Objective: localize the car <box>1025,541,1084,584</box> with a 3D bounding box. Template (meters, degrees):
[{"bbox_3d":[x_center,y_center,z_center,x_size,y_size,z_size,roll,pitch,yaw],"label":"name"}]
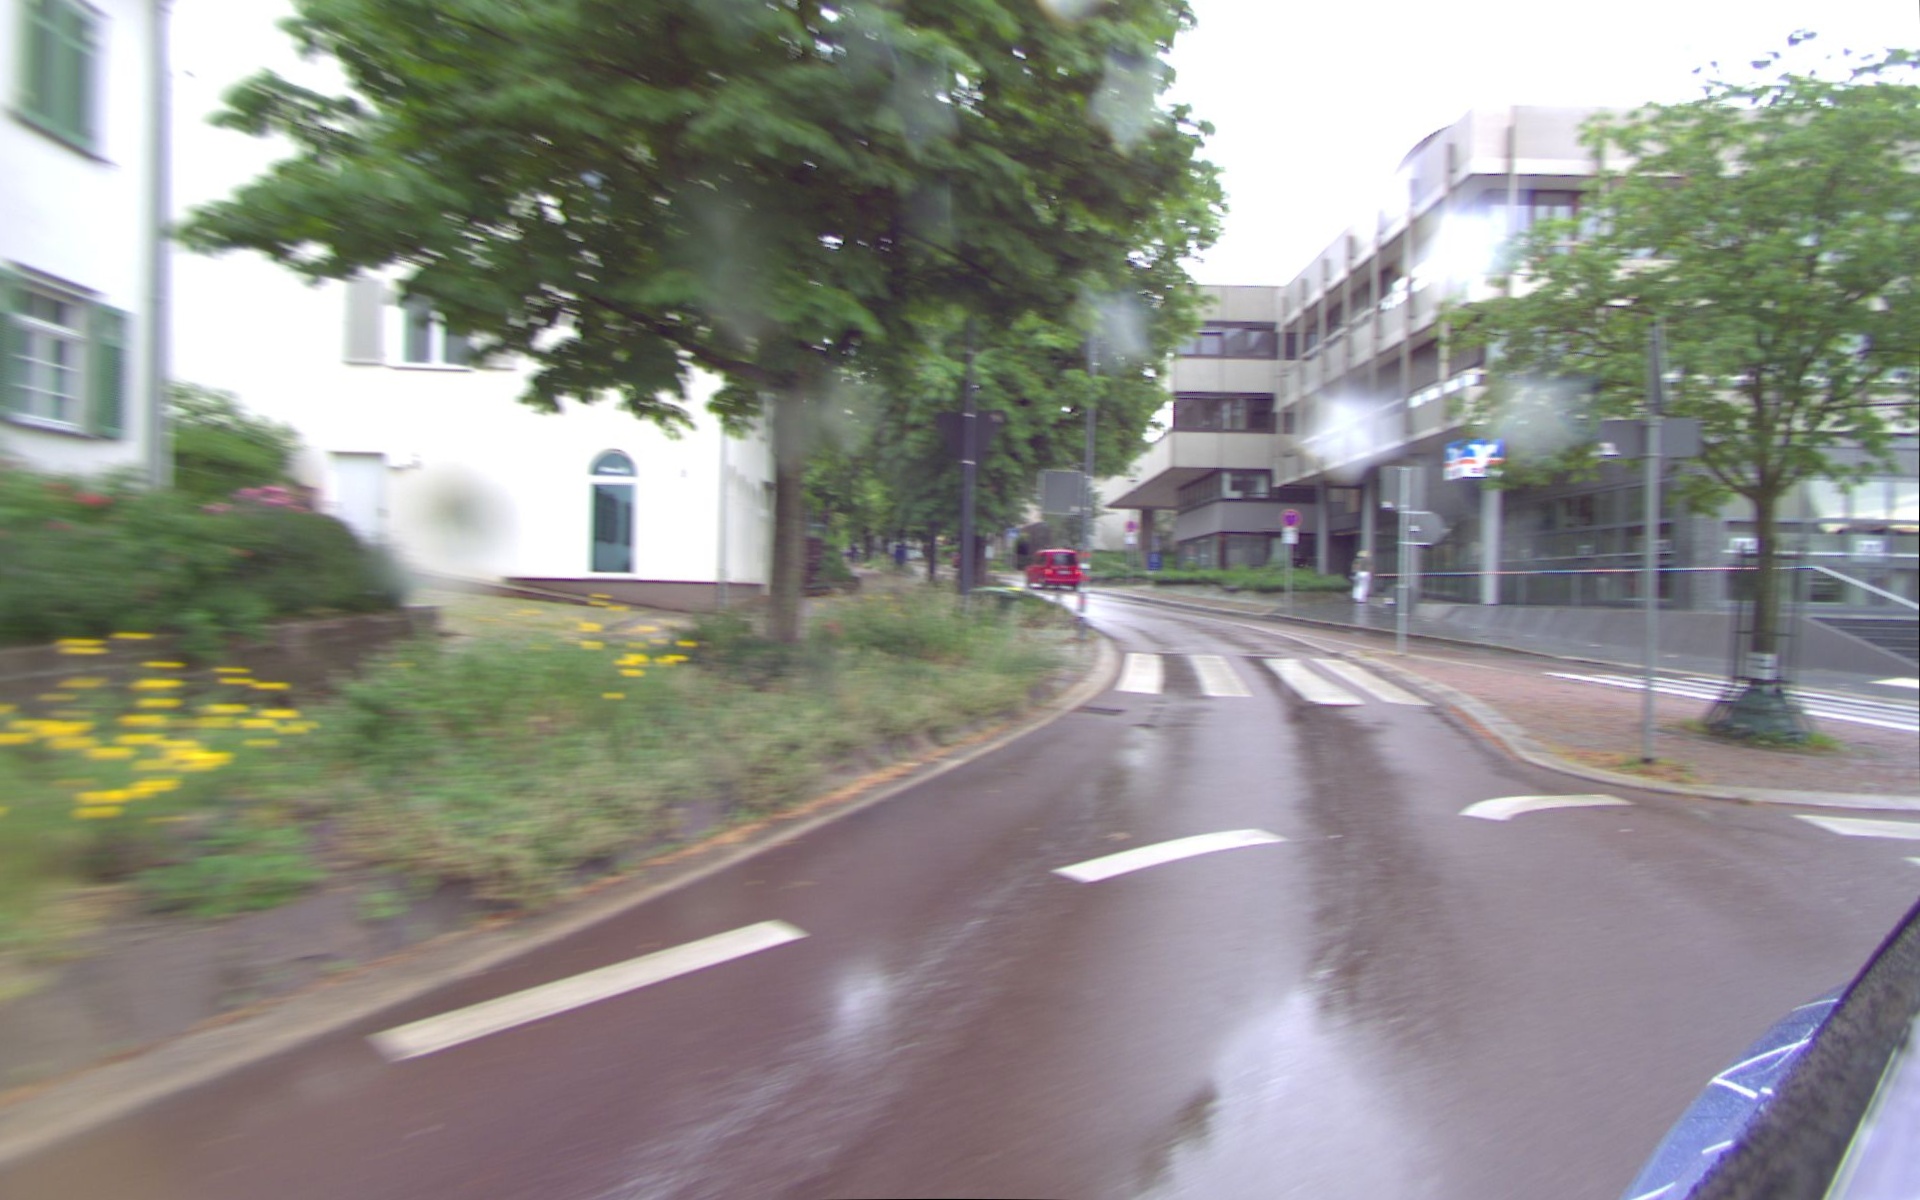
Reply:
[{"bbox_3d":[4.396,-1.756,47.745,1.830,1.853,4.192,1,1,-8],"label":"car"}]

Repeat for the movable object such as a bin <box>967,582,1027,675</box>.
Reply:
[{"bbox_3d":[0.462,0.350,12.977,0.725,1.138,0.650,1,1,-1],"label":"movable object such as a bin"}]

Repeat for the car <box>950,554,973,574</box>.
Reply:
[{"bbox_3d":[0.121,-3.346,93.694,1.961,1.791,4.003,1,1,-2],"label":"car"}]

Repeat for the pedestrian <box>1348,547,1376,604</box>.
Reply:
[{"bbox_3d":[13.292,-0.802,33.476,0.826,1.852,0.811,0,2,19],"label":"pedestrian"}]
